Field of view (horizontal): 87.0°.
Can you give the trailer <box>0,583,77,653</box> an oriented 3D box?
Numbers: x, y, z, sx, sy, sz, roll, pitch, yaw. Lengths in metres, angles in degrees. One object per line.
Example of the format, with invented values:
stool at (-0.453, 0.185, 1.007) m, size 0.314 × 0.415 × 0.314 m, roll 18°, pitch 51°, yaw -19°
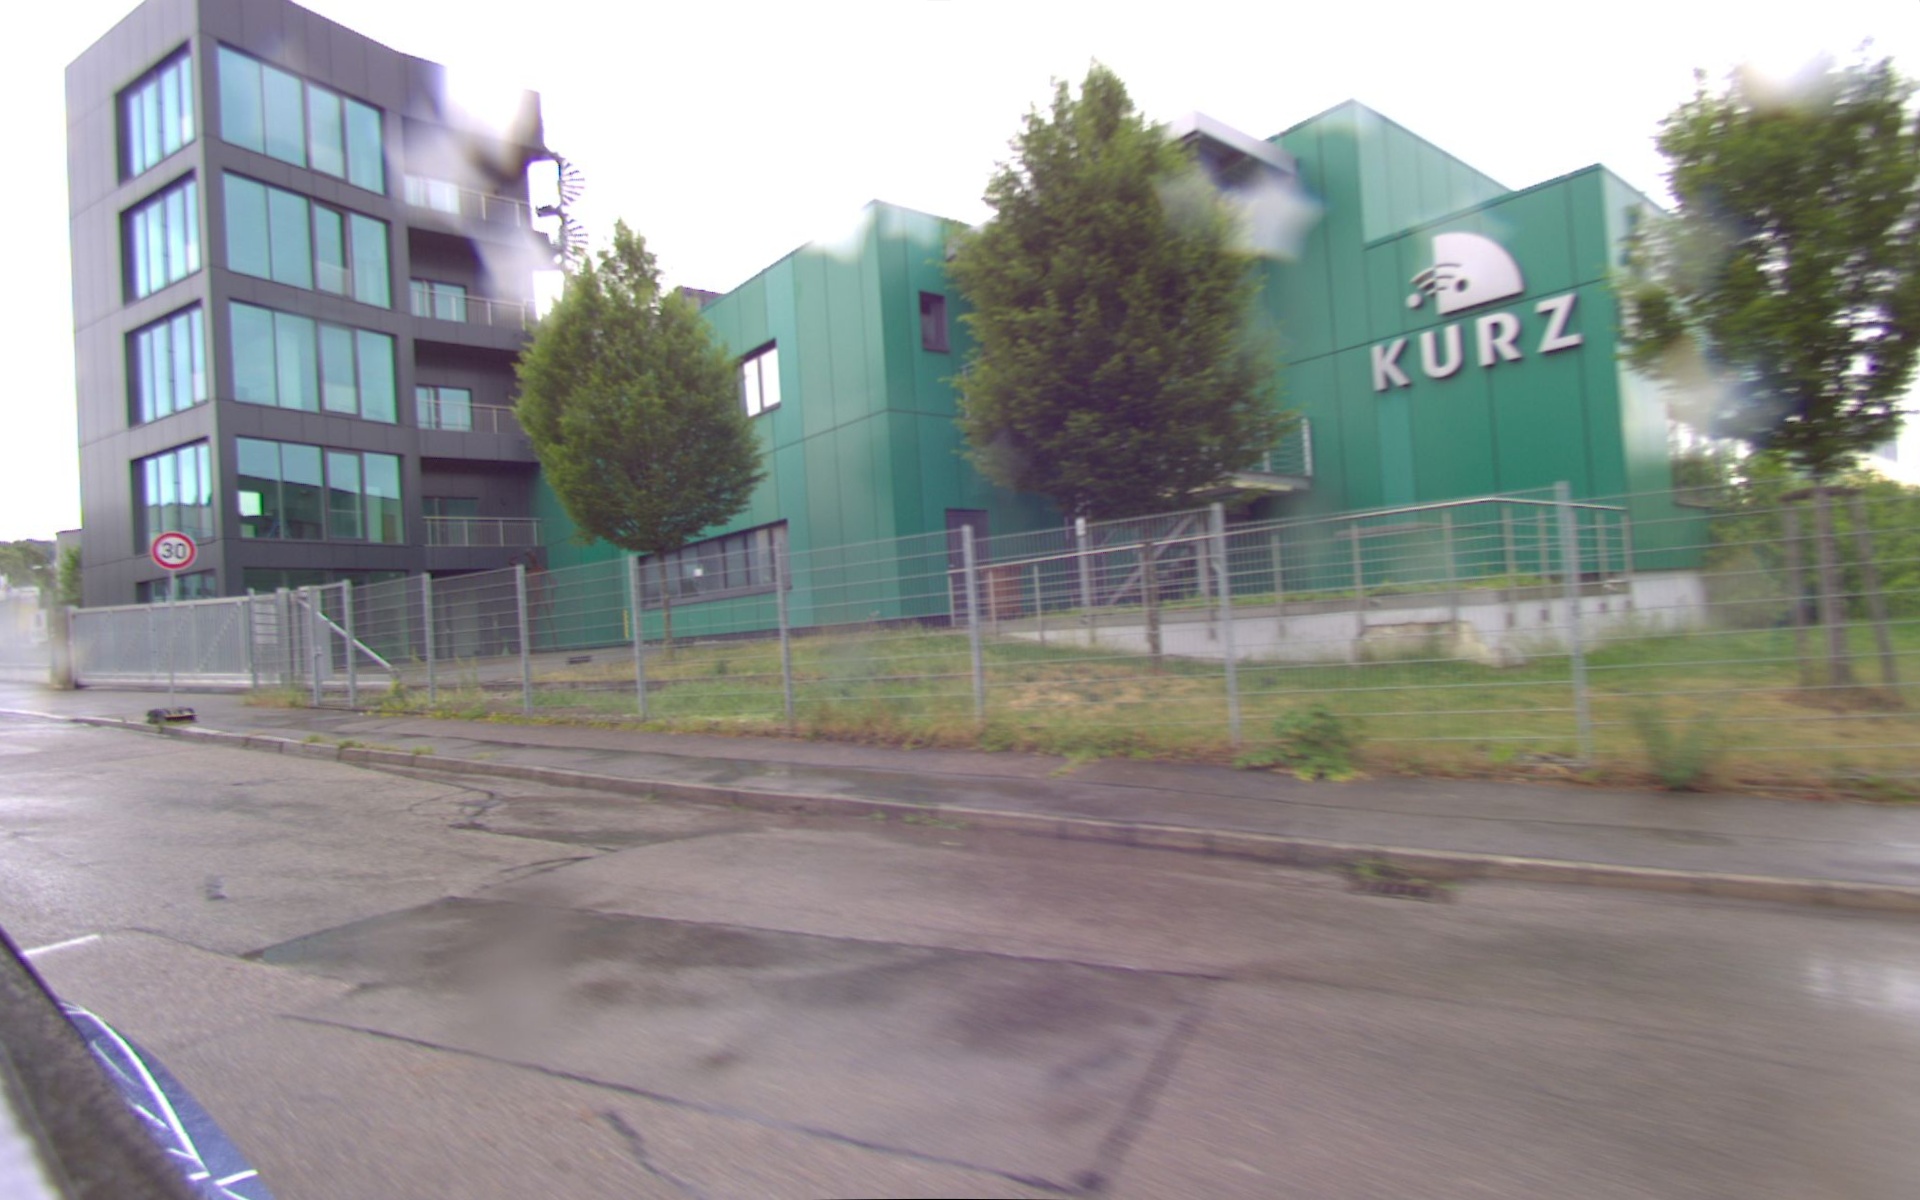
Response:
trailer at (-56.759, 1.117, 61.157) m, size 4.630 × 4.120 × 2.390 m, roll -1°, pitch -1°, yaw -3°
